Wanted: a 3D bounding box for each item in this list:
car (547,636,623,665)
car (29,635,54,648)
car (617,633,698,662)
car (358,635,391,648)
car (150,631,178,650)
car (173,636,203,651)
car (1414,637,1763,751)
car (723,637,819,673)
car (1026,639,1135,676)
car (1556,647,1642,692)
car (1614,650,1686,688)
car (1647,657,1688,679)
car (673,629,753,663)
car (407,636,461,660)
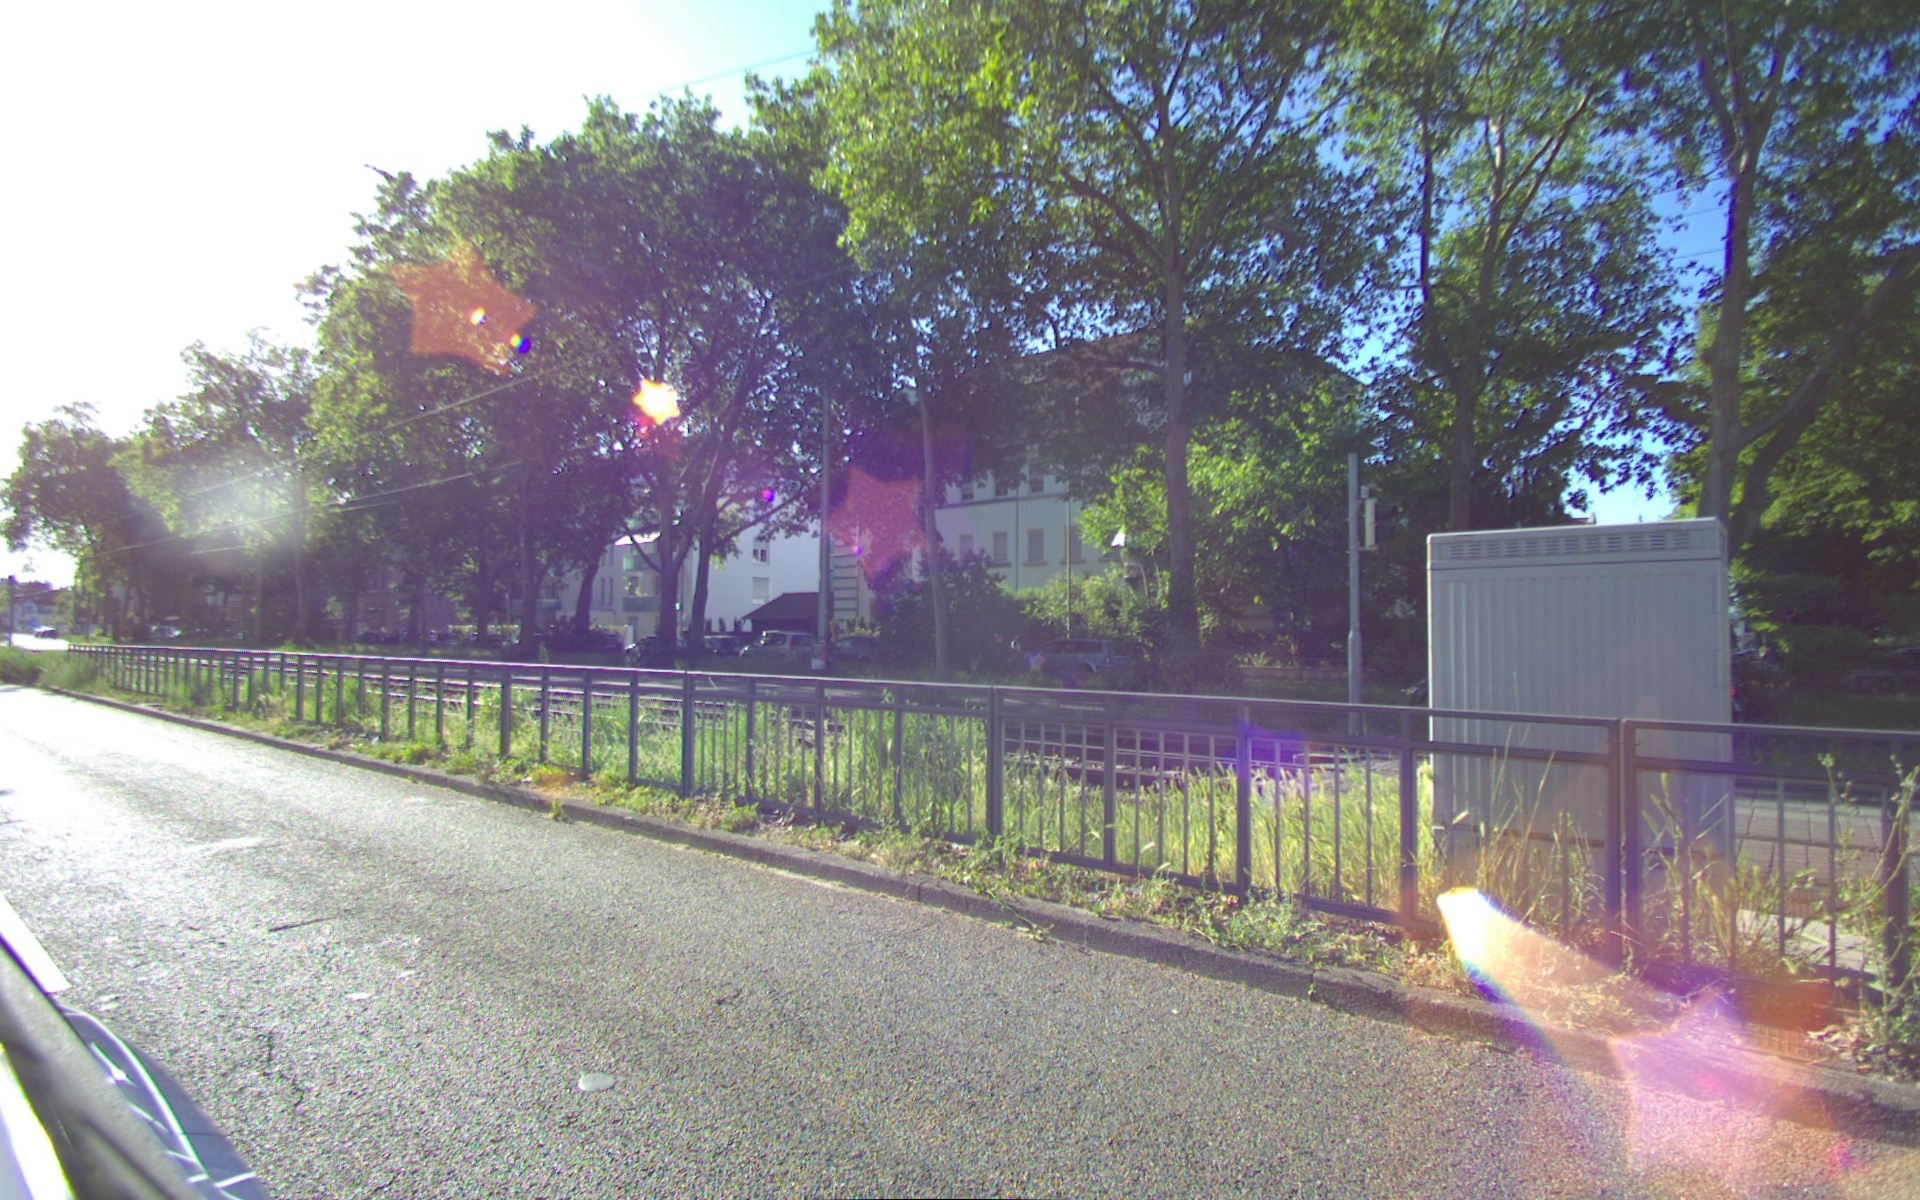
[{"bbox_3d":[-19.813,2.647,53.350,4.317,1.464,1.972,-2,-3,42],"label":"car"},{"bbox_3d":[-124.904,5.621,137.640,4.456,1.660,1.839,-2,-3,40],"label":"car"},{"bbox_3d":[-14.671,2.299,48.959,4.459,1.334,1.623,-2,-5,42],"label":"car"},{"bbox_3d":[-41.753,2.945,72.117,3.058,0.883,1.094,-2,-3,41],"label":"car"},{"bbox_3d":[-86.494,4.379,109.918,1.970,2.029,4.002,1,-3,-45],"label":"car"},{"bbox_3d":[-78.930,4.456,103.442,3.687,1.497,1.748,-2,-3,42],"label":"car"},{"bbox_3d":[9.481,1.330,15.495,4.337,1.510,1.667,-2,-2,38],"label":"car"},{"bbox_3d":[-8.022,2.277,42.799,4.317,1.451,1.717,-2,-3,42],"label":"car"},{"bbox_3d":[3.876,1.830,32.791,3.213,1.125,1.458,-2,-3,38],"label":"car"},{"bbox_3d":[22.975,2.452,36.348,1.999,1.429,3.945,-2,-3,41],"label":"car"},{"bbox_3d":[28.703,2.823,42.053,1.999,1.429,3.945,-2,-3,41],"label":"car"},{"bbox_3d":[39.713,3.815,56.797,1.531,1.127,3.083,-2,-2,41],"label":"car"},{"bbox_3d":[-11.193,2.060,45.767,3.696,1.476,1.756,-2,-3,42],"label":"car"},{"bbox_3d":[-34.131,3.082,65.642,3.998,1.484,1.778,-2,-3,41],"label":"car"}]
